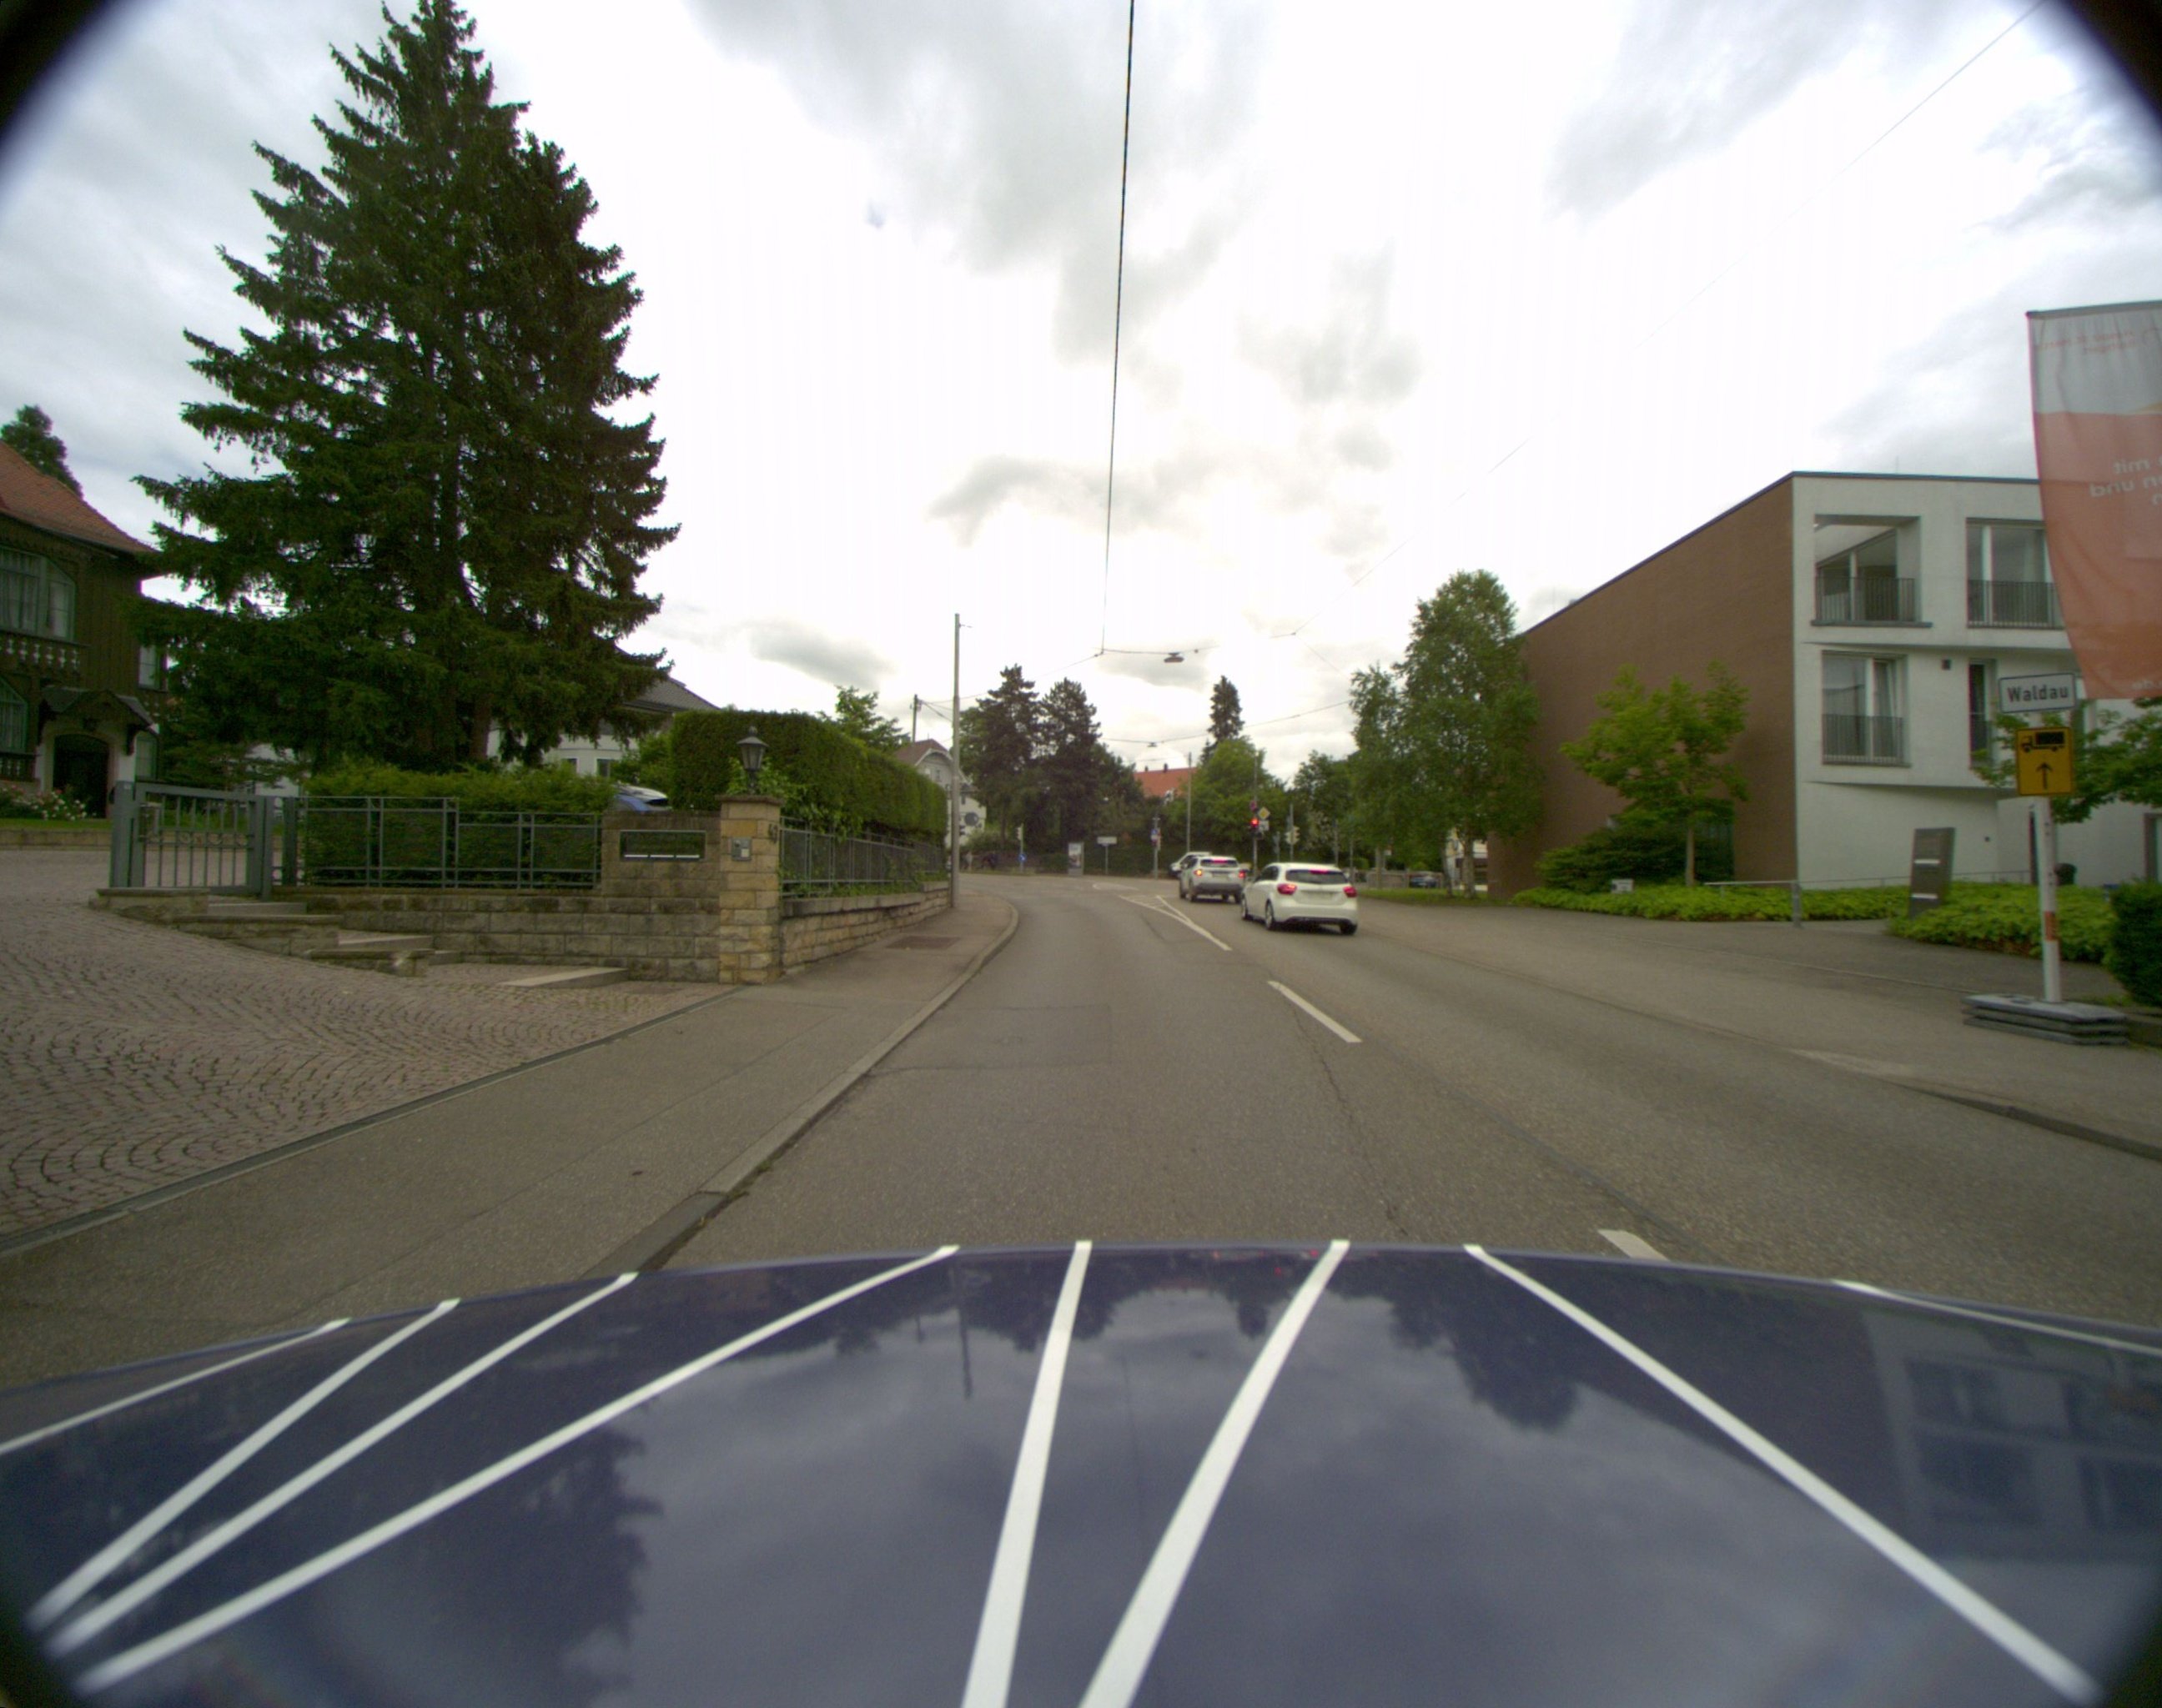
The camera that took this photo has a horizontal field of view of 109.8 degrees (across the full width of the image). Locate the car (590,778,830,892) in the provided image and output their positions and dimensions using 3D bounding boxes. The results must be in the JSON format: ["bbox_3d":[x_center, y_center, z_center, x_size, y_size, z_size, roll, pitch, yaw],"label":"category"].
[{"bbox_3d":[-7.348,-0.367,15.335,3.749,1.603,1.814,9,0,0],"label":"car"}]

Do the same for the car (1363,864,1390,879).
[{"bbox_3d":[32.273,1.858,82.905,1.867,1.577,3.739,1,0,36],"label":"car"}]

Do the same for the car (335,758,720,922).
[{"bbox_3d":[-7.876,-0.192,11.158,3.997,1.603,2.000,9,0,0],"label":"car"}]

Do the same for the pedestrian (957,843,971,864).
[{"bbox_3d":[-10.075,-0.019,65.419,0.686,1.803,0.882,2,0,30],"label":"pedestrian"}]

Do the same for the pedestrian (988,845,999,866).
[{"bbox_3d":[-7.542,0.126,65.593,0.611,1.824,0.605,2,0,28],"label":"pedestrian"}]

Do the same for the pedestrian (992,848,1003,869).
[{"bbox_3d":[-7.131,0.406,64.667,0.665,1.777,0.614,2,0,26],"label":"pedestrian"}]

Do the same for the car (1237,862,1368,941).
[{"bbox_3d":[4.742,0.952,16.904,1.770,1.413,4.065,2,0,1],"label":"car"}]

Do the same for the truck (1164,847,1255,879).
[{"bbox_3d":[9.879,0.668,58.394,6.706,2.176,2.532,2,1,12],"label":"truck"}]

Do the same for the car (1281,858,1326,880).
[{"bbox_3d":[17.829,1.190,60.684,1.994,1.603,4.009,2,0,40],"label":"car"}]

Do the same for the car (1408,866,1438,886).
[{"bbox_3d":[26.306,1.651,58.362,1.876,1.440,4.008,2,0,27],"label":"car"}]

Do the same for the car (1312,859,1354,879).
[{"bbox_3d":[21.543,1.272,64.913,1.994,1.603,4.009,2,0,40],"label":"car"}]

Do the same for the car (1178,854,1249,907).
[{"bbox_3d":[4.567,0.861,26.803,1.773,1.628,4.302,3,0,1],"label":"car"}]
